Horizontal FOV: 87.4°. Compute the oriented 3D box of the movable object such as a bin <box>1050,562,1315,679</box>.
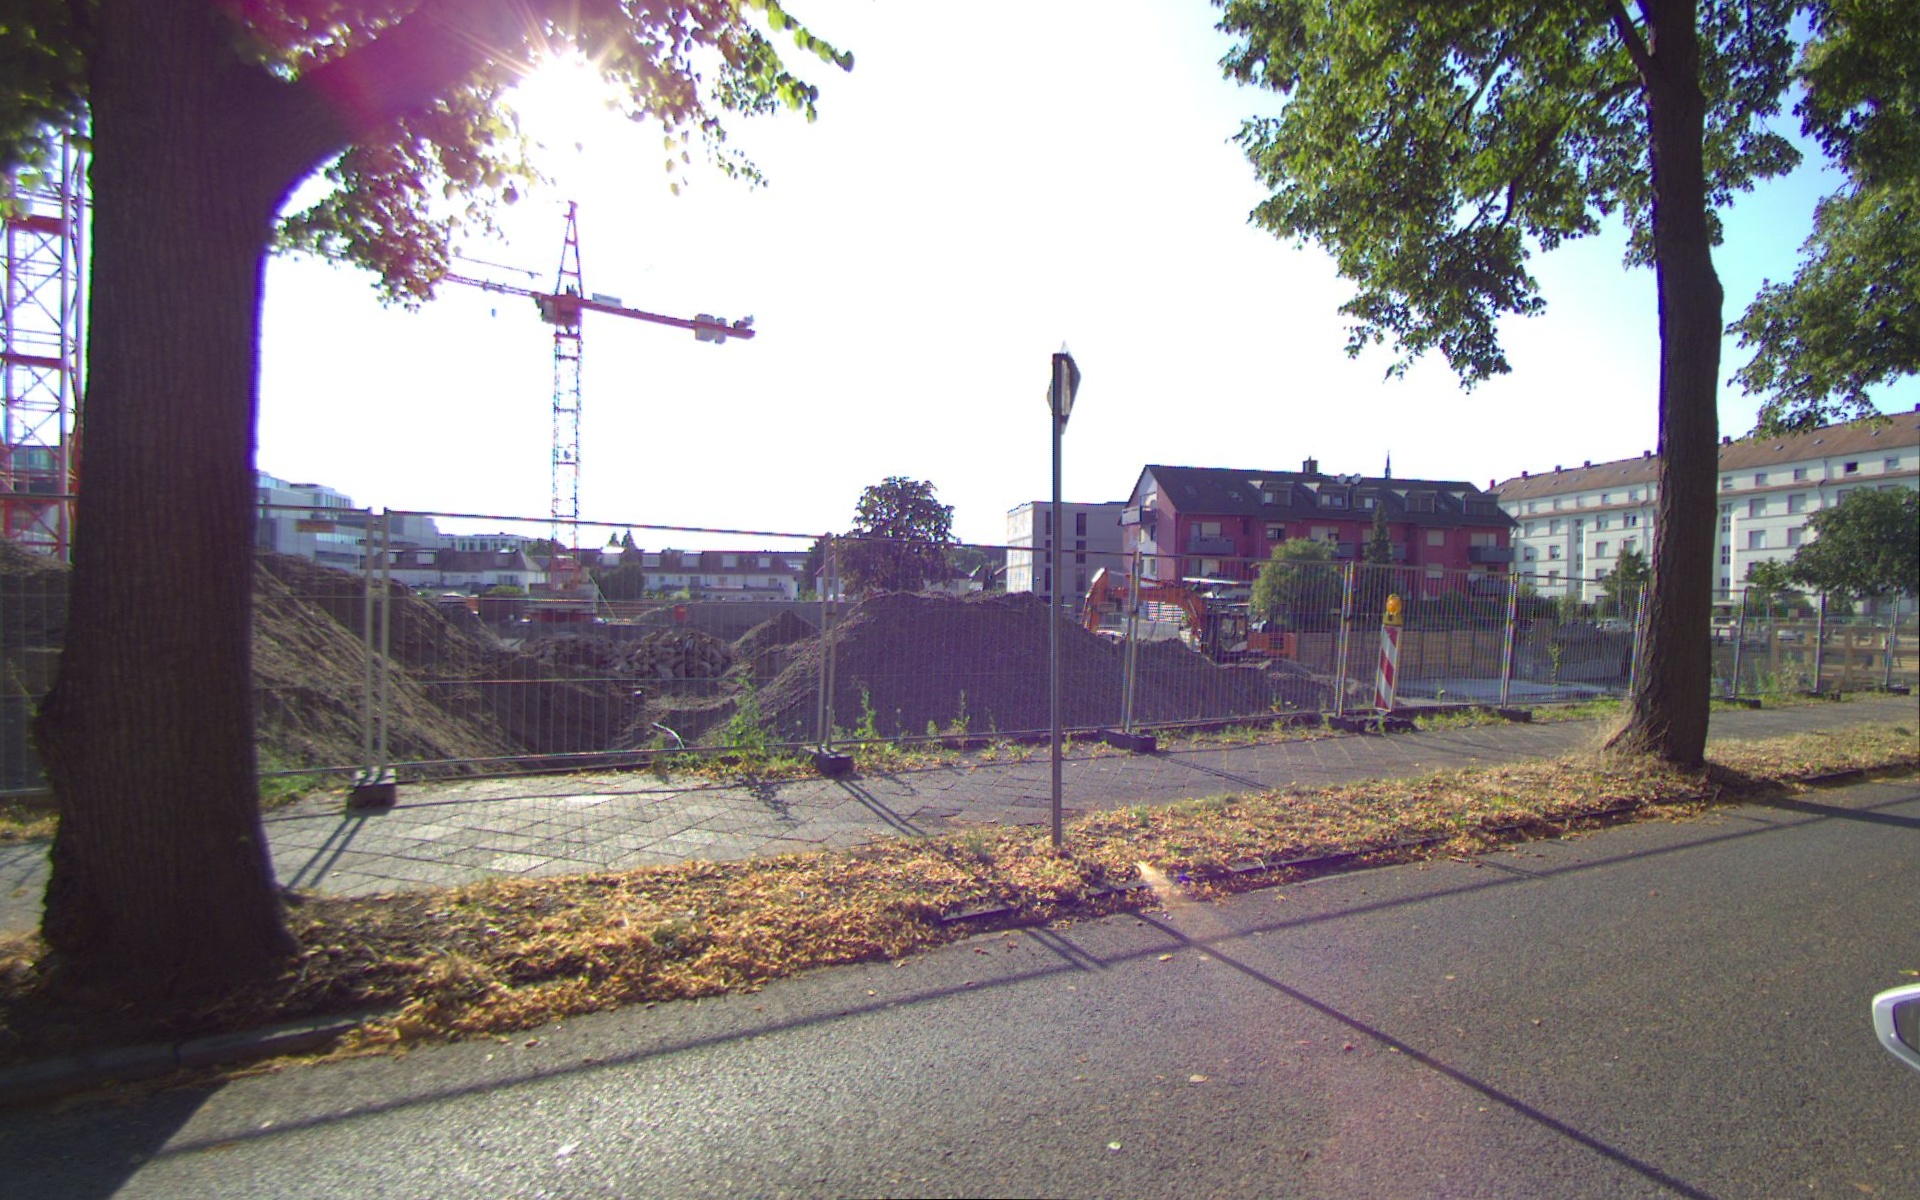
[{"bbox_3d":[9.943,0.945,45.410,11.347,5.058,3.017,0,-2,-8],"label":"movable object such as a bin"}]
